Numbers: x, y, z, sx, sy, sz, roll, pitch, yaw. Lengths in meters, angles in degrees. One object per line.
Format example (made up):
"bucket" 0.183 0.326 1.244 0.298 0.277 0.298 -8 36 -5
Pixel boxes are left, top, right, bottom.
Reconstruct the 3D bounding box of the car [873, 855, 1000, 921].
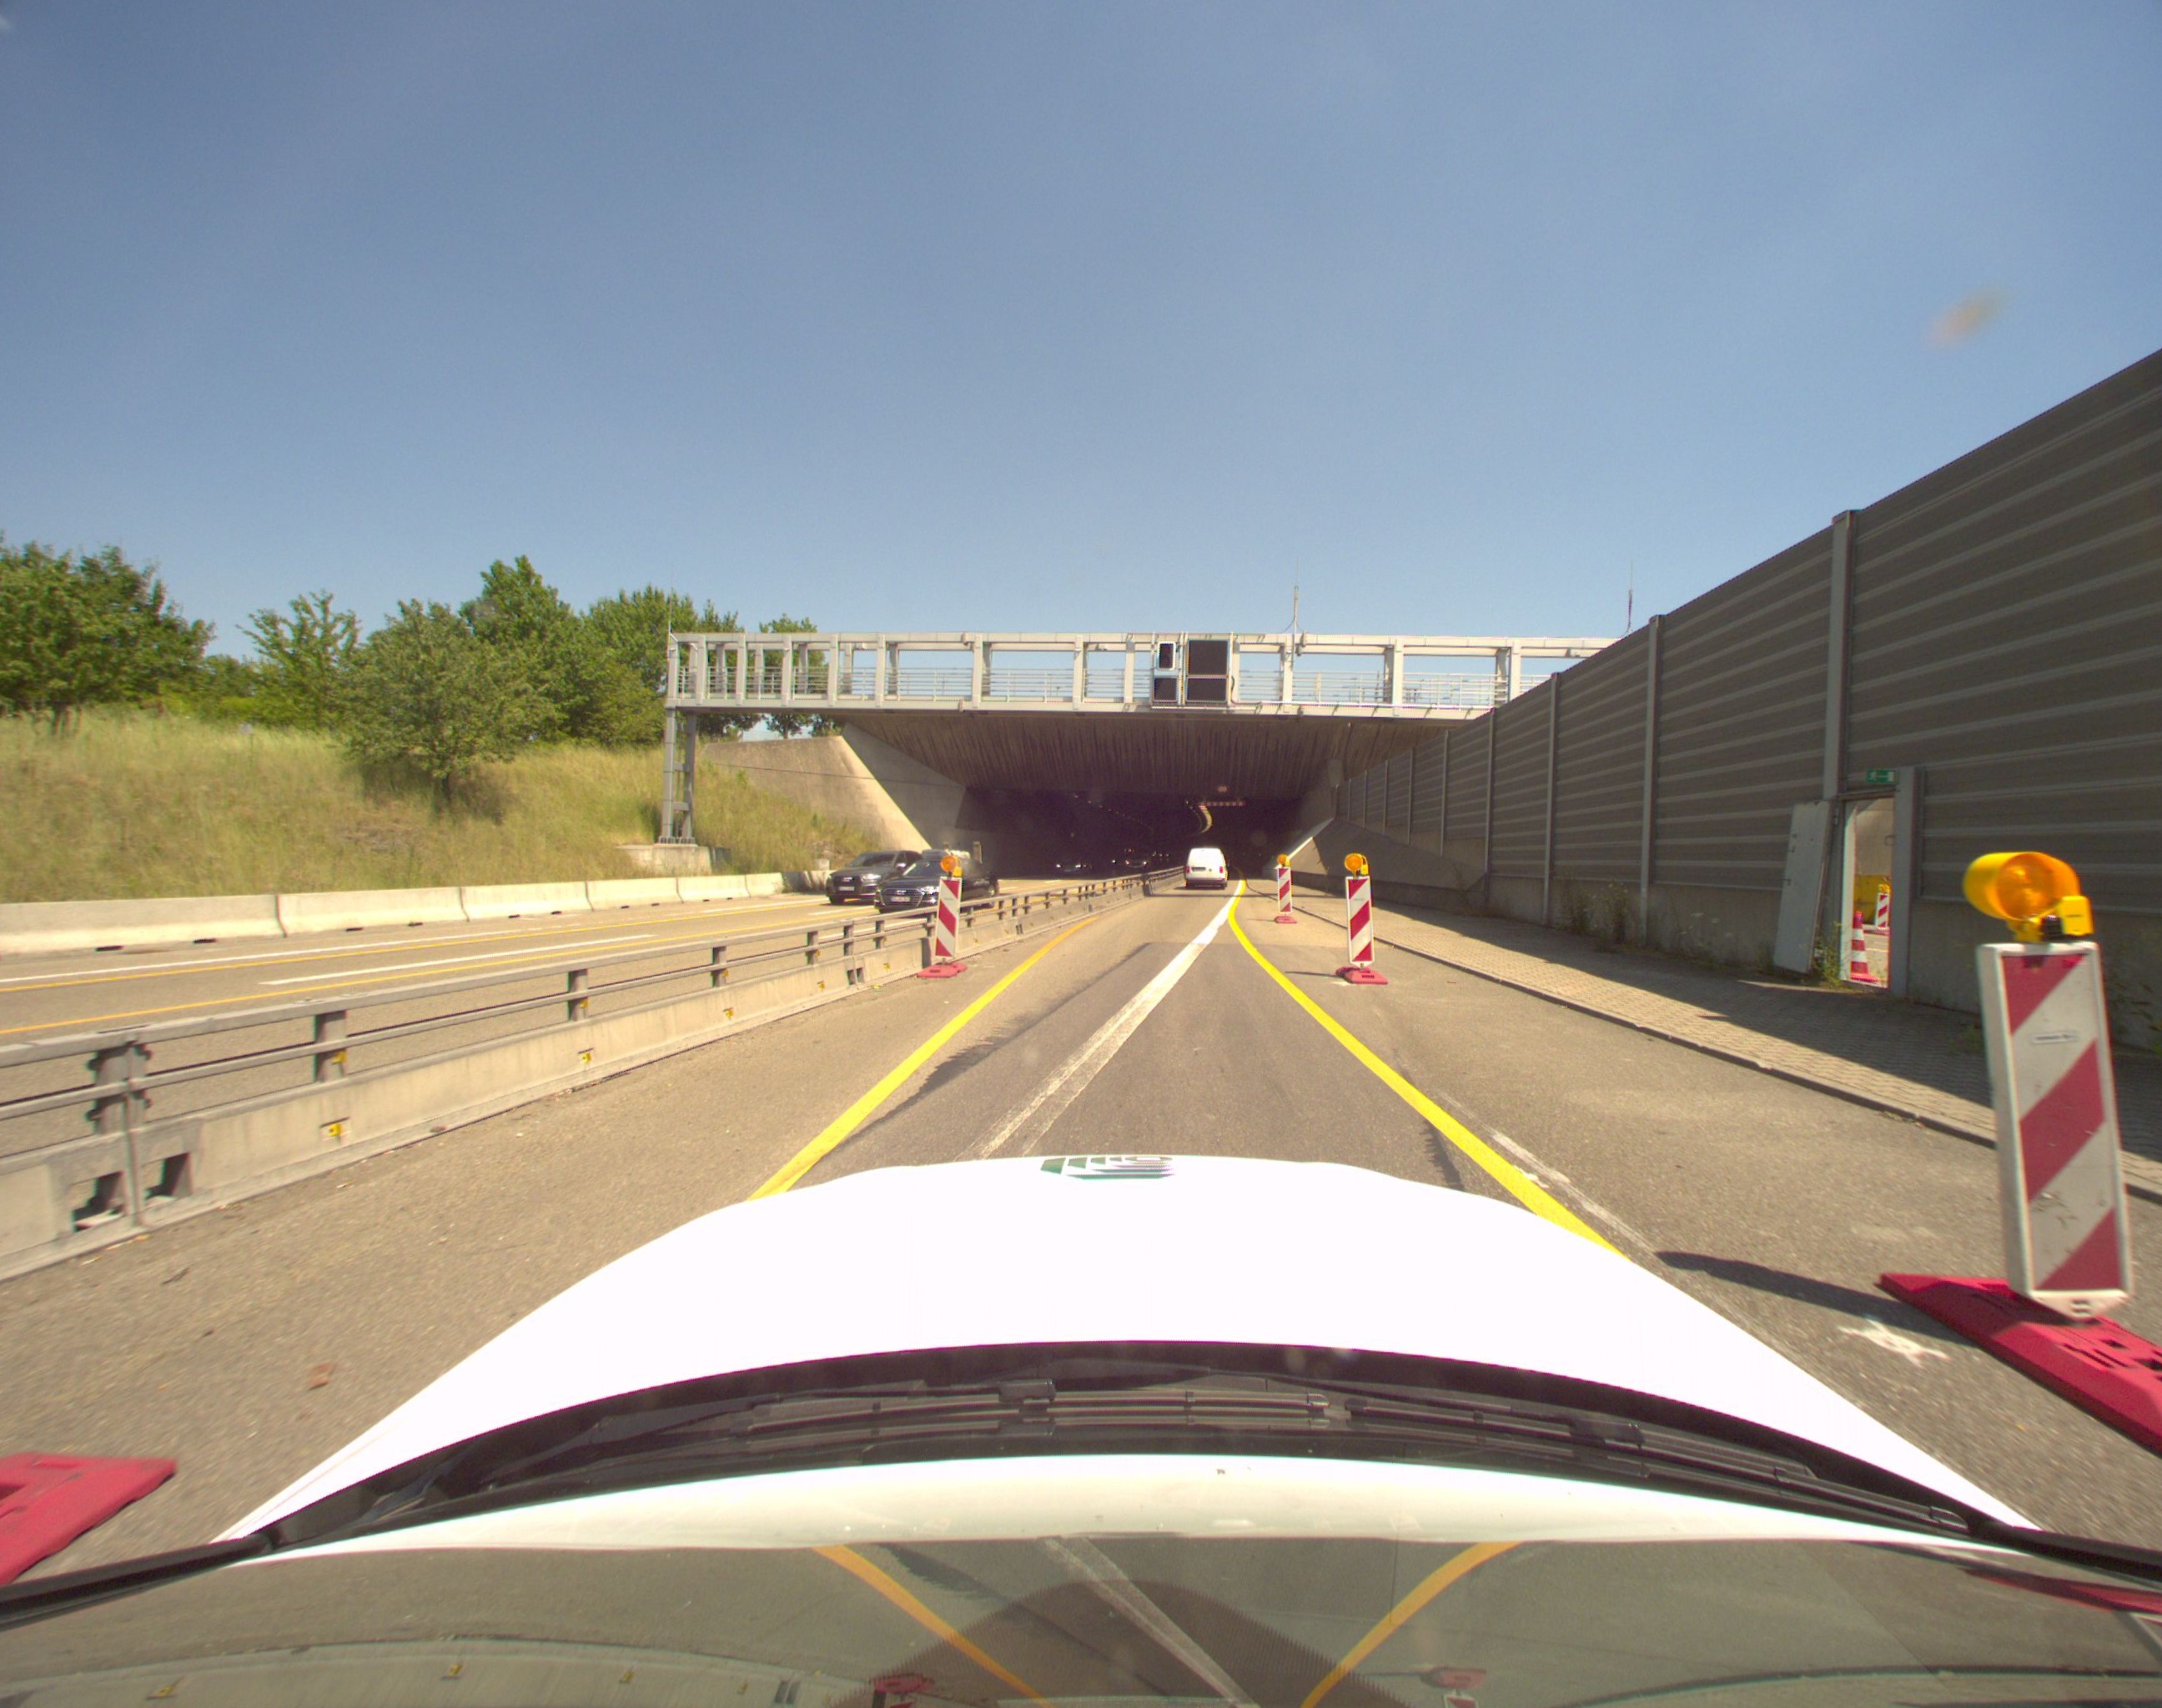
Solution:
"car" -3.813 0.835 22.495 1.762 1.593 5.001 -1 0 11

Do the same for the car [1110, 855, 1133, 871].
"car" 4.224 0.917 84.184 1.763 1.515 4.576 -1 0 9

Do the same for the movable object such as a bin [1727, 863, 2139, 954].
"movable object such as a bin" 34.889 1.936 35.119 3.098 3.011 14.713 1 -1 3

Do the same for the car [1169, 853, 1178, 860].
"car" 27.089 0.854 239.067 2.065 2.021 4.663 0 0 1

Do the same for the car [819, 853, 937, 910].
"car" -6.621 0.826 27.211 1.761 1.727 4.885 -1 0 13

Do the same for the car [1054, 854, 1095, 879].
"car" -0.423 0.863 57.490 1.761 1.666 4.824 -1 0 13

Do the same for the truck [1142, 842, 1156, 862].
"truck" 13.806 -0.324 164.657 2.796 3.915 6.466 0 0 6

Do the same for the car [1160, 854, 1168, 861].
"car" 18.034 0.839 177.037 1.812 1.456 4.099 0 0 5

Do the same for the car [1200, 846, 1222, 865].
"car" 20.494 0.301 128.665 2.801 2.774 7.109 3 -1 5

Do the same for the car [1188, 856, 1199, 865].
"car" 24.812 1.479 180.141 1.933 2.021 4.663 0 0 1

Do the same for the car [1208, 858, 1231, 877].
"car" 11.599 1.116 68.164 1.798 1.537 4.421 1 0 10

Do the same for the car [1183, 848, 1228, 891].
"car" 5.735 0.703 37.150 1.796 1.794 3.743 1 -1 12

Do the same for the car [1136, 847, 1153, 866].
"car" 8.503 0.332 108.920 1.982 2.515 6.054 -1 0 8

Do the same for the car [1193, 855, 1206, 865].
"car" 24.040 1.184 164.965 2.026 2.021 4.635 4 0 3

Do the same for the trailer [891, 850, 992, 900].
"trailer" -5.390 0.777 32.304 1.933 1.805 5.542 -1 0 13

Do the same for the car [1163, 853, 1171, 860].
"car" 27.415 0.811 260.533 2.065 2.021 4.663 0 0 1

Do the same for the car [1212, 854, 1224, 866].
"car" 18.190 0.808 108.119 1.589 1.546 3.687 0 0 9

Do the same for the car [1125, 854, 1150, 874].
"car" 4.680 0.783 67.350 1.764 1.577 4.455 -1 0 7

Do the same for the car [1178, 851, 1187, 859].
"car" 26.857 0.304 214.911 1.933 2.021 4.663 0 0 1
